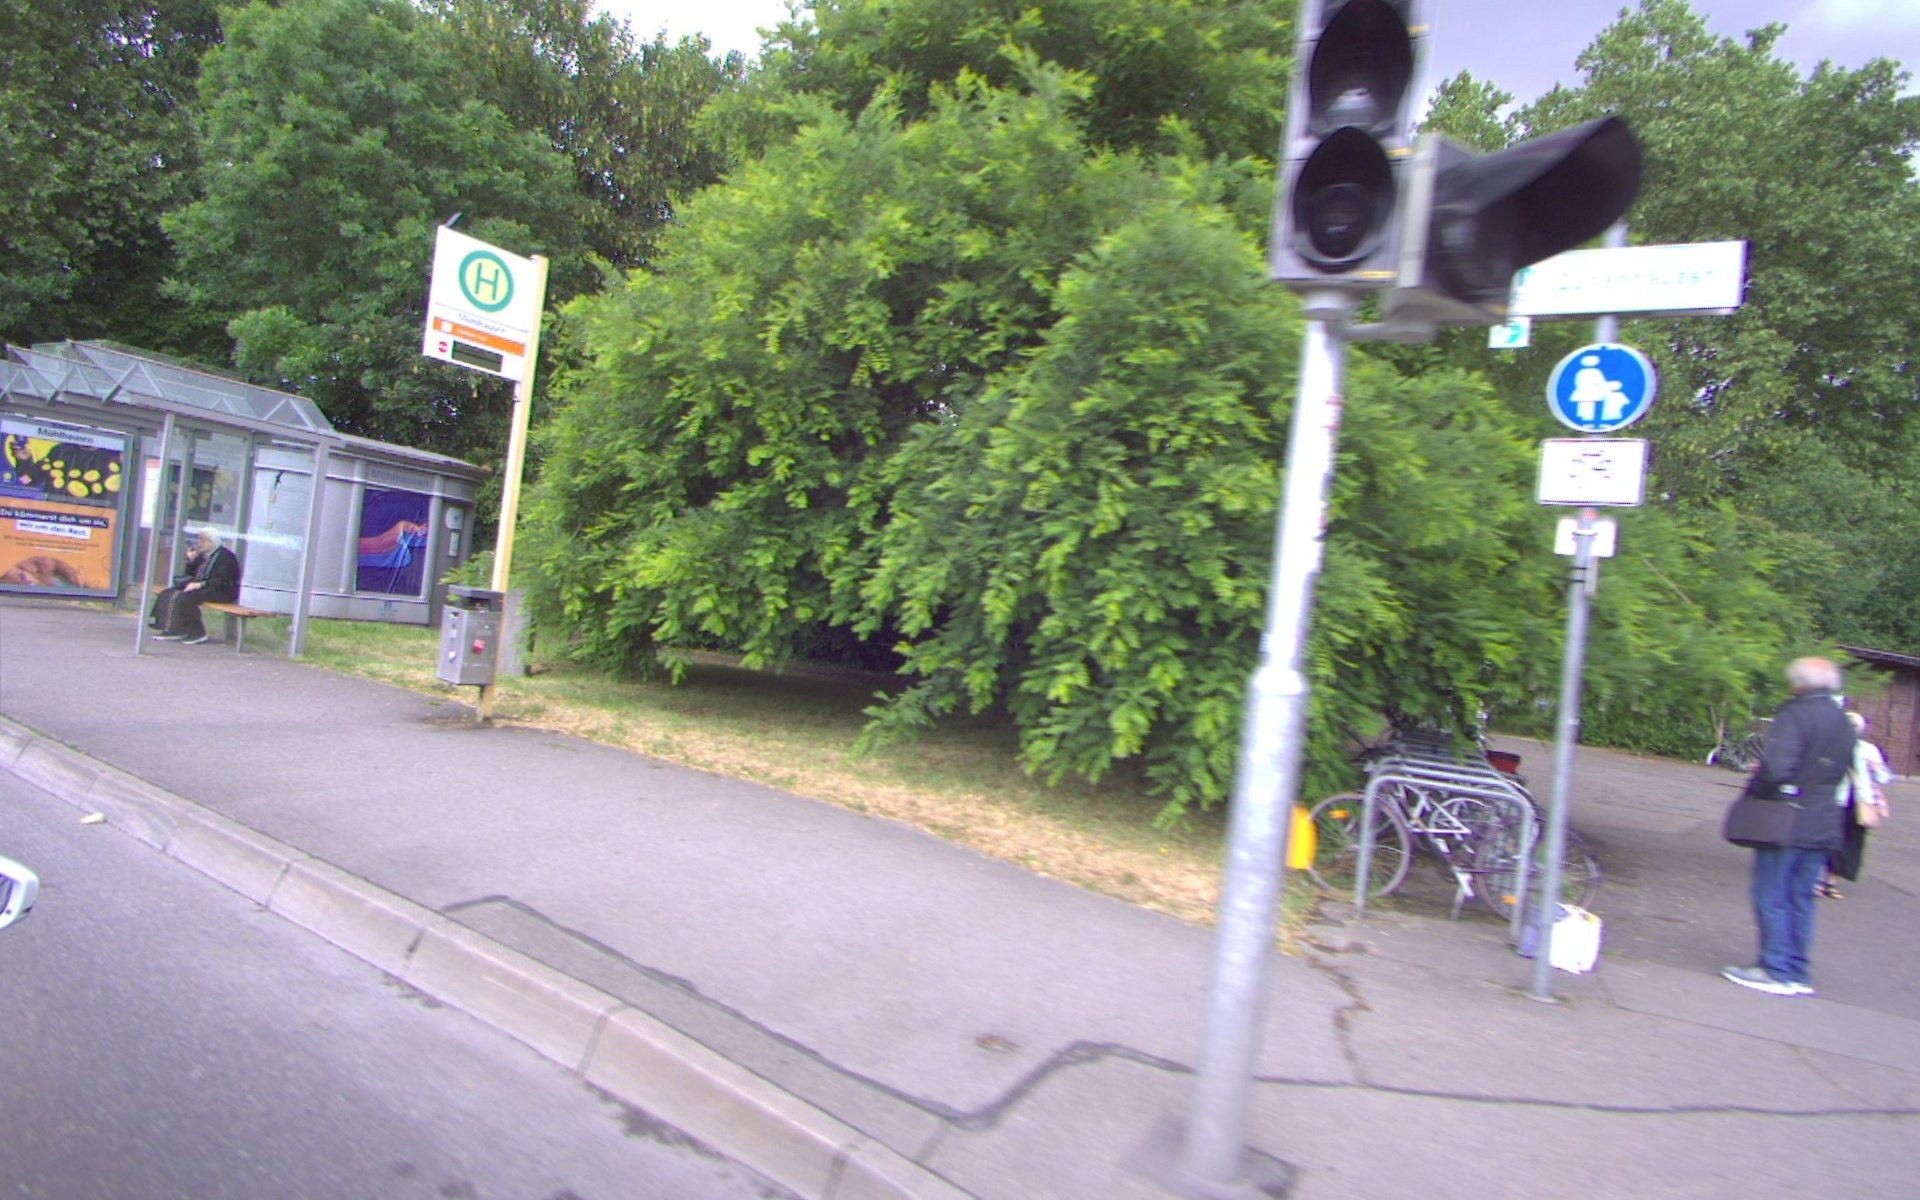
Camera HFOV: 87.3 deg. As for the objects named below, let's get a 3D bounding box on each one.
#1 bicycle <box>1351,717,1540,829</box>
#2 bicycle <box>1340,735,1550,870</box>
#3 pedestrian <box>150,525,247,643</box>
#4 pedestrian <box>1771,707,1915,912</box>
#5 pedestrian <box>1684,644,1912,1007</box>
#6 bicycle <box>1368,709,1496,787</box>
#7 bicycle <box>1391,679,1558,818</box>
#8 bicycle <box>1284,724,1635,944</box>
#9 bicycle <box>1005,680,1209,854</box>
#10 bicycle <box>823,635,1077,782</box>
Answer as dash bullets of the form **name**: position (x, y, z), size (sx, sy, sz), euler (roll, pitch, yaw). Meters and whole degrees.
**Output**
- **bicycle**: position (5.179, 1.825, 10.809), size (1.708, 0.866, 0.478), euler (7, -1, 27)
- **bicycle**: position (4.077, 1.679, 8.528), size (1.488, 0.817, 0.478), euler (7, -1, 27)
- **pedestrian**: position (-8.066, -0.161, 10.661), size (0.537, 1.173, 0.601), euler (7, 2, 31)
- **pedestrian**: position (7.480, 1.735, 8.561), size (0.660, 1.533, 0.754), euler (6, 1, 31)
- **pedestrian**: position (4.435, 1.158, 5.352), size (0.677, 1.774, 0.420), euler (7, -1, 2)
- **bicycle**: position (7.054, 2.201, 15.087), size (1.628, 0.866, 0.478), euler (7, -1, 27)
- **bicycle**: position (6.254, 1.771, 12.297), size (1.628, 1.388, 0.646), euler (7, -1, 27)
- **bicycle**: position (3.078, 1.423, 6.377), size (1.818, 0.918, 0.524), euler (8, 2, 22)
- **bicycle**: position (1.054, 1.050, 6.768), size (0.536, 0.936, 1.868), euler (9, 1, 32)
- **bicycle**: position (-0.014, 0.864, 7.755), size (2.033, 0.950, 0.584), euler (9, -2, -44)
